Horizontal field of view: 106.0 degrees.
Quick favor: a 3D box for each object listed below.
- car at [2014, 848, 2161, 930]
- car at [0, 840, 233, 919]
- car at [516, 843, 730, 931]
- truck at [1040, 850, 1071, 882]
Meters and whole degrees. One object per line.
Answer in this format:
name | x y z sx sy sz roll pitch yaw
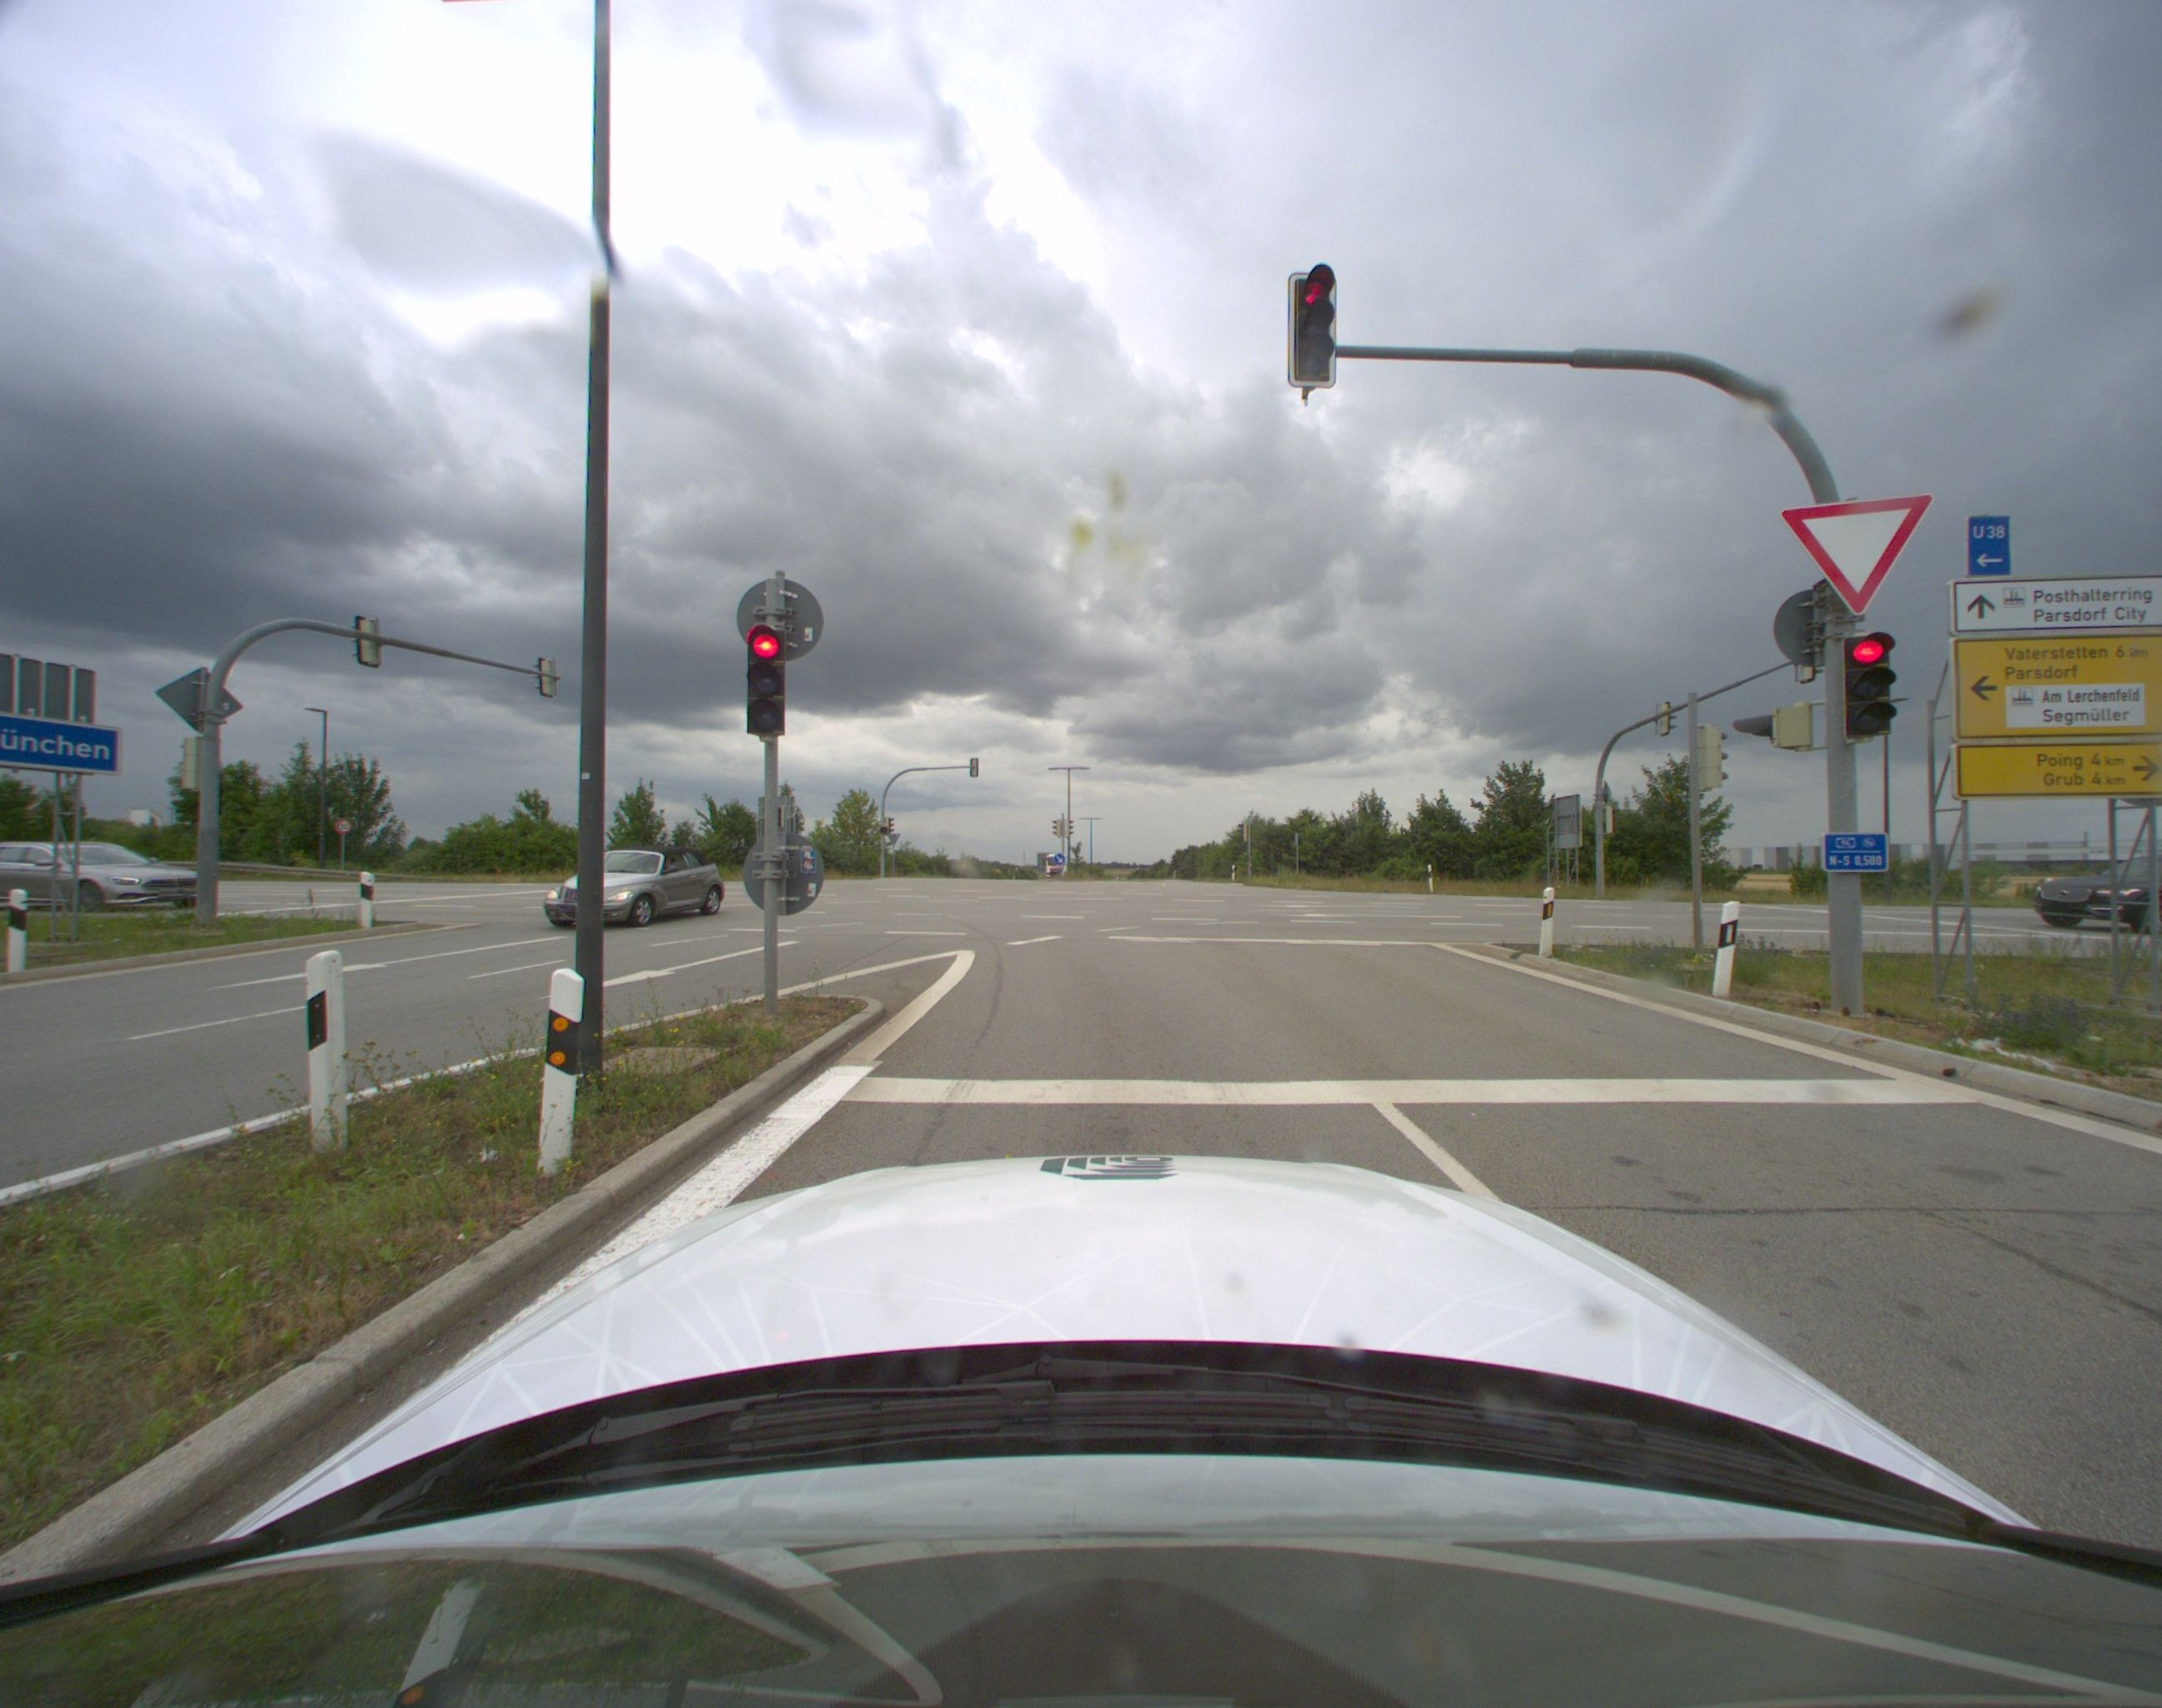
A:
car | 24.115 0.747 17.668 4.951 1.684 2.006 0 0 10
car | -22.383 0.519 18.289 4.909 1.610 1.924 0 1 5
car | -8.954 0.550 16.422 1.803 1.520 4.244 0 1 2
truck | -2.751 1.447 91.239 2.858 3.408 8.653 0 -2 2
